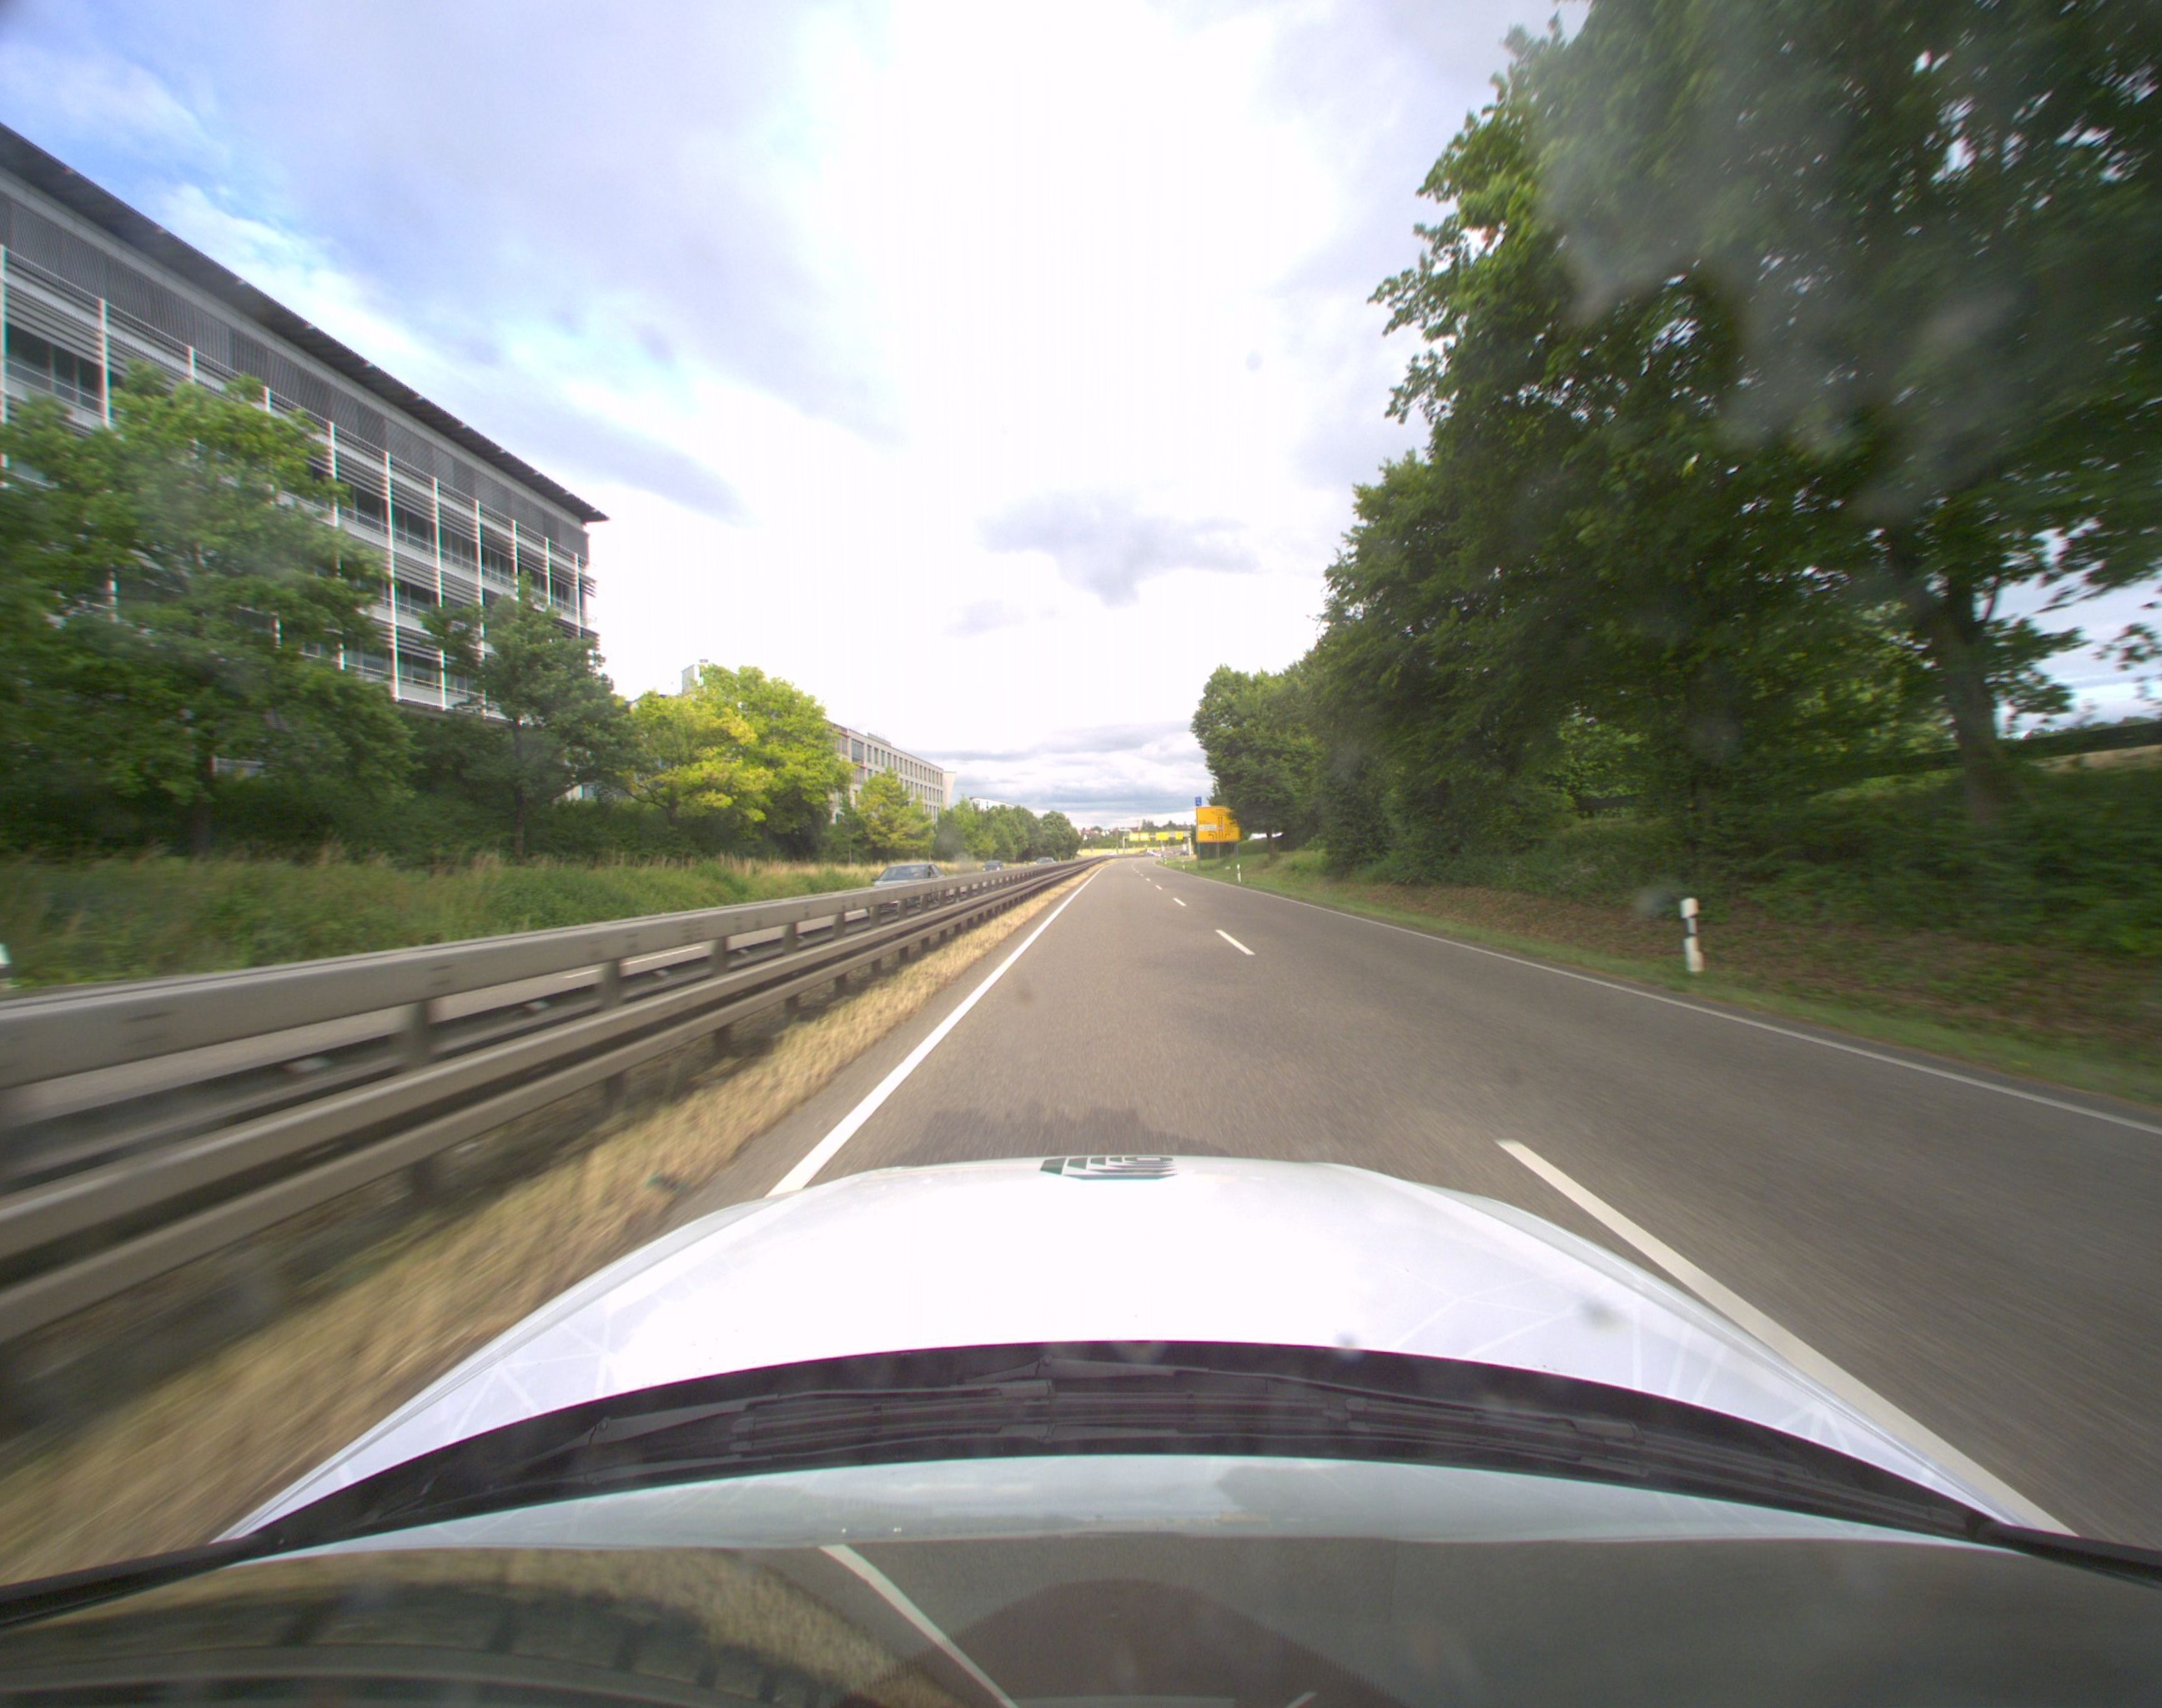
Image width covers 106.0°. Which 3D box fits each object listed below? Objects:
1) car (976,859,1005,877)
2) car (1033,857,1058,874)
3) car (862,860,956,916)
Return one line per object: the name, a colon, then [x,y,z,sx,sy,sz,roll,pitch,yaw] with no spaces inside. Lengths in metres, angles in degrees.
car: [-7.842,1.208,70.678,1.749,1.422,4.570,-2,0,3]
car: [-3.109,1.015,71.656,1.828,1.378,4.568,-2,0,2]
car: [-5.123,0.958,24.825,1.736,1.458,4.313,-3,0,1]
